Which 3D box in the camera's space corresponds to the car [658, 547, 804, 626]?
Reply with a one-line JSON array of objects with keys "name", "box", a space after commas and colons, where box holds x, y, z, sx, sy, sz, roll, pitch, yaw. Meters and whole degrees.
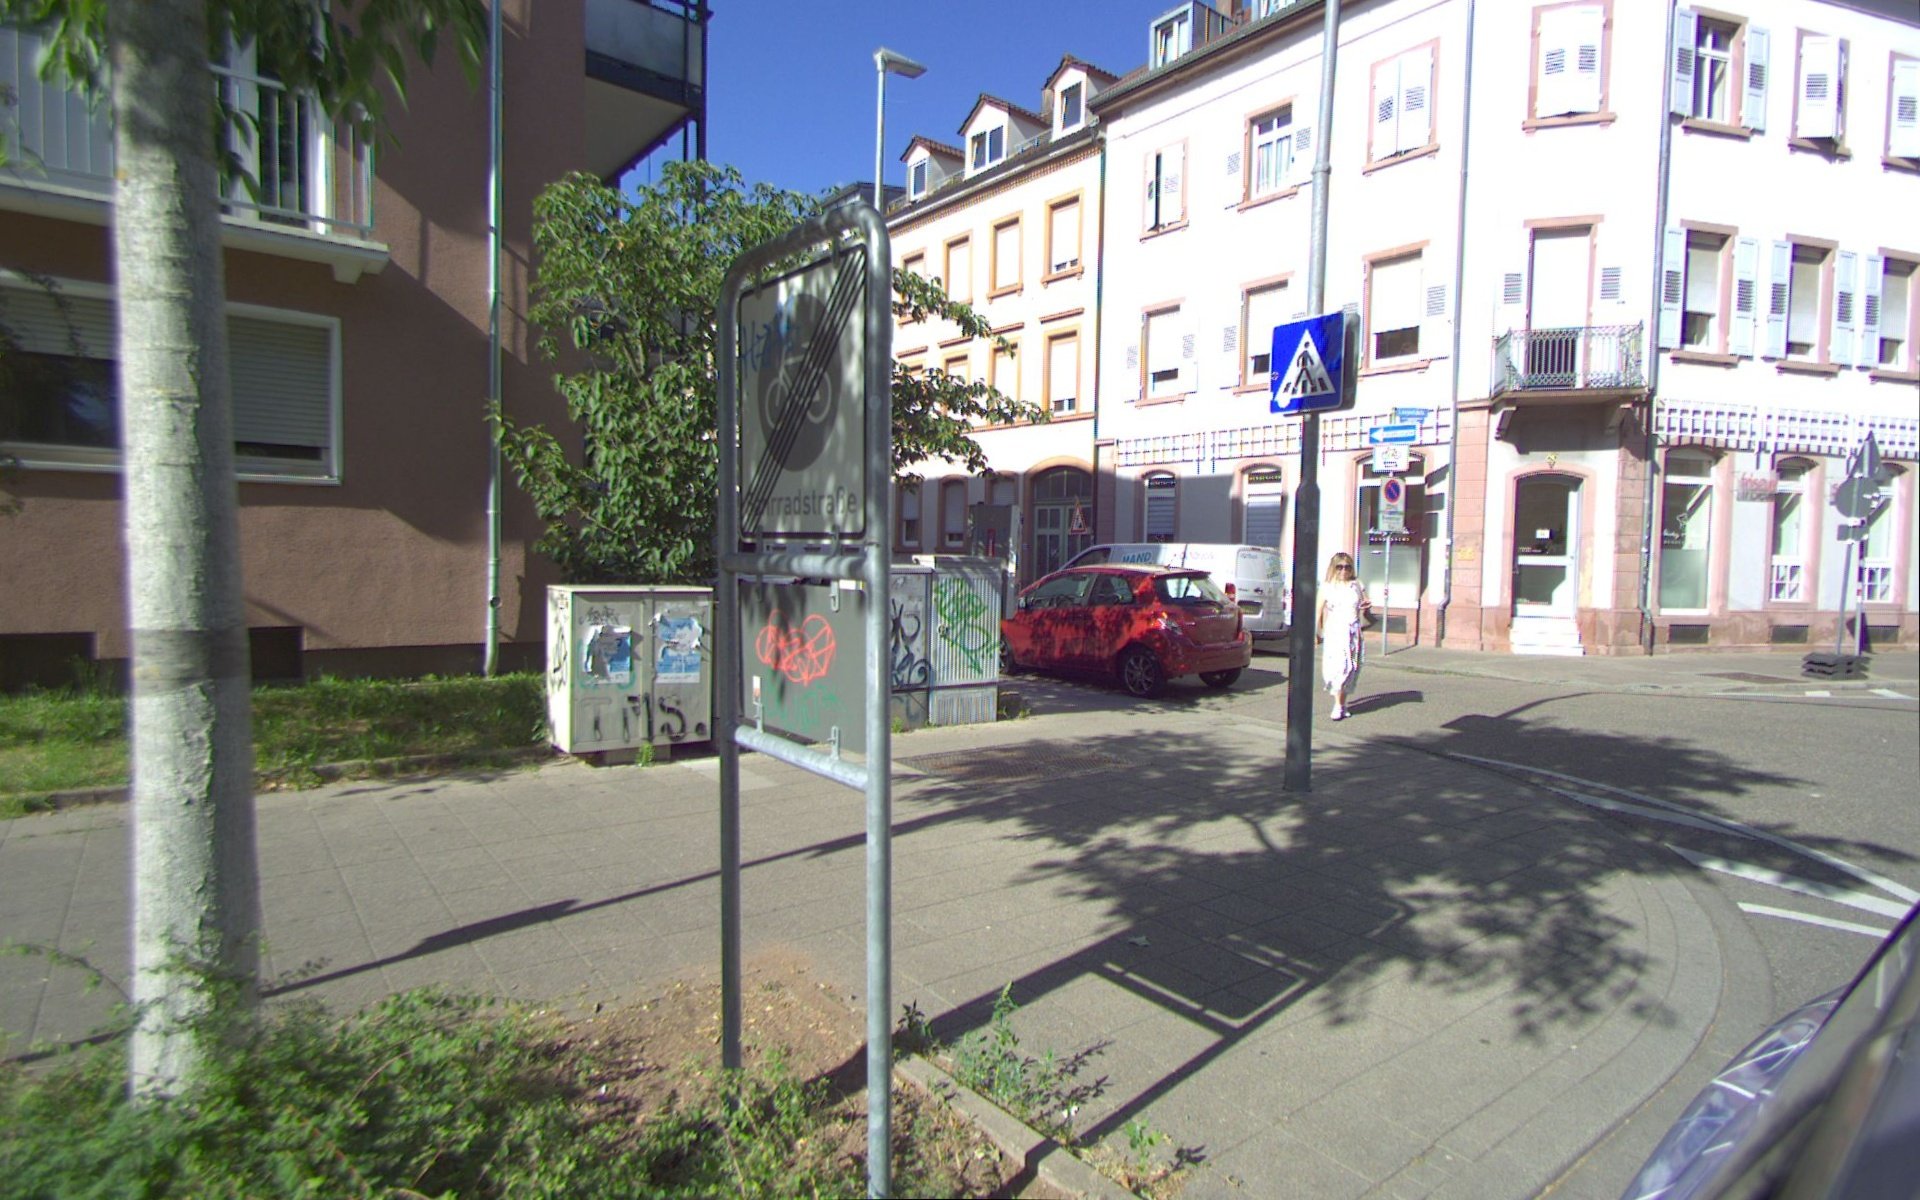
[{"name": "car", "box": [-4.963, -0.349, 21.606, 1.628, 1.518, 3.762, -1, 3, -37]}]

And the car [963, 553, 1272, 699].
[{"name": "car", "box": [1.870, 0.187, 12.962, 1.660, 1.518, 3.804, -3, 5, -39]}]

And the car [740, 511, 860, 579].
[{"name": "car", "box": [-4.815, -1.619, 30.041, 1.866, 1.882, 3.994, -1, 3, -37]}]

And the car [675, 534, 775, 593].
[{"name": "car", "box": [-8.050, -1.281, 34.488, 1.866, 1.882, 3.994, -1, 3, -37]}]

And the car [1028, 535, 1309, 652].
[{"name": "car", "box": [3.701, -0.210, 18.869, 1.867, 1.882, 5.010, 2, 2, -40]}]

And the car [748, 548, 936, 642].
[{"name": "car", "box": [-2.290, -0.176, 18.683, 1.628, 1.518, 4.079, -1, 3, -37]}]

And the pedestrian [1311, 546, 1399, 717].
[{"name": "pedestrian", "box": [3.950, 0.282, 10.174, 0.725, 1.633, 0.812, 1, 2, 17]}]

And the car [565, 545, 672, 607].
[{"name": "car", "box": [-9.141, -0.679, 26.922, 1.628, 1.518, 3.762, -1, 3, -37]}]
